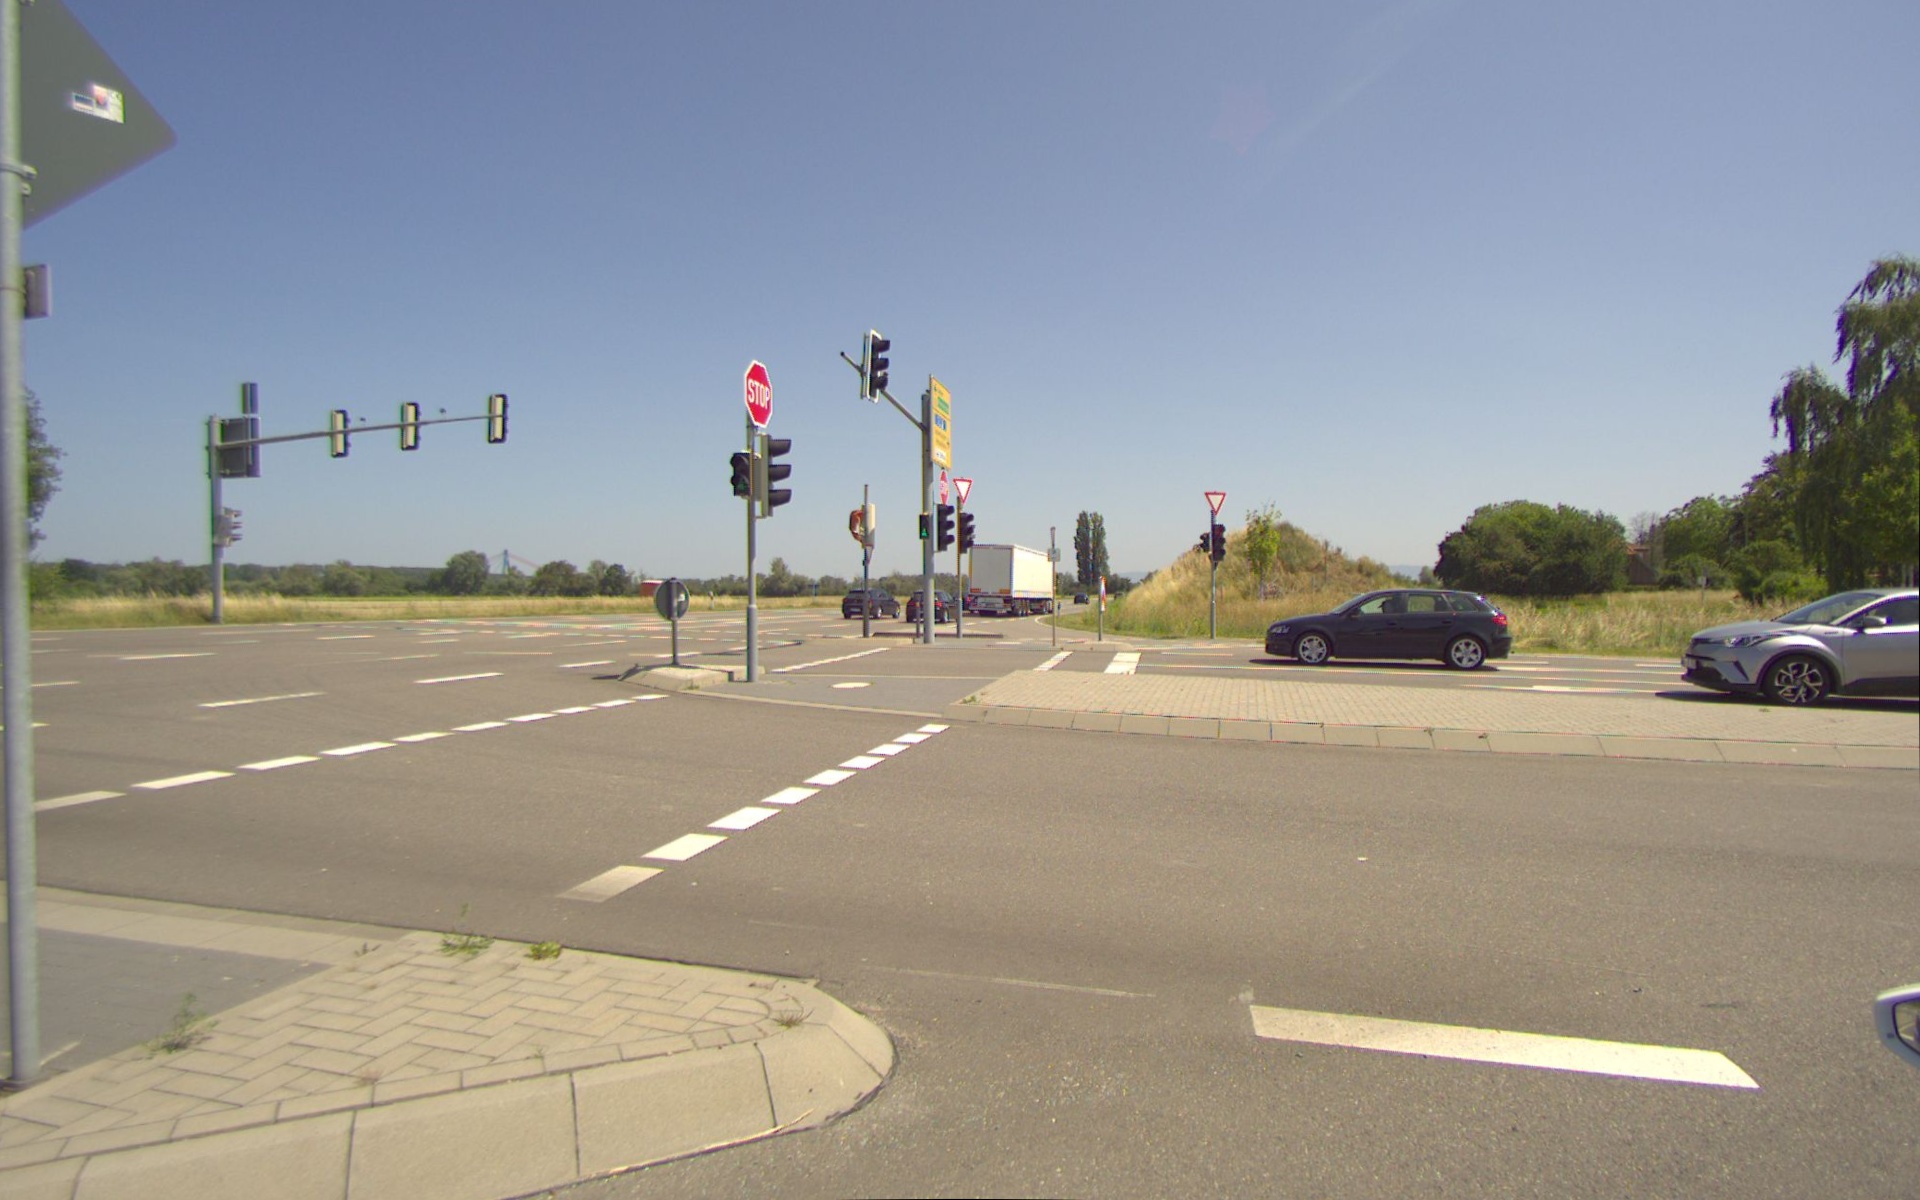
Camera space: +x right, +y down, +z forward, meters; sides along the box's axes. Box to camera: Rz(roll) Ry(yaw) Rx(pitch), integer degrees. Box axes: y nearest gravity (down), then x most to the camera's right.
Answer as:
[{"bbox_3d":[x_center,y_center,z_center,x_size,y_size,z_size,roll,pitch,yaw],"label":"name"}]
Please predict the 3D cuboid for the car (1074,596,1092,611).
[{"bbox_3d":[16.213,0.502,132.425,1.946,1.919,4.469,1,0,12],"label":"car"}]

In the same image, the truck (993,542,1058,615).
[{"bbox_3d":[4.496,-1.416,67.637,3.323,4.603,6.375,2,1,13],"label":"truck"}]

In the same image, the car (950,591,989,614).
[{"bbox_3d":[0.662,0.154,66.341,1.646,1.430,4.469,1,0,12],"label":"car"}]

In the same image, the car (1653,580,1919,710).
[{"bbox_3d":[12.009,0.535,13.137,4.461,1.565,1.871,1,2,20],"label":"car"}]

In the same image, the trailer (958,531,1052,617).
[{"bbox_3d":[2.989,-1.444,60.970,3.323,4.603,12.878,2,0,13],"label":"trailer"}]

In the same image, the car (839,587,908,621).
[{"bbox_3d":[-4.040,0.185,47.643,1.857,1.466,4.528,1,0,15],"label":"car"}]

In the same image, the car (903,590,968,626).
[{"bbox_3d":[-1.026,0.319,44.219,1.754,1.450,4.382,2,1,13],"label":"car"}]

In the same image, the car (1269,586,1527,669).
[{"bbox_3d":[7.930,0.462,18.563,4.190,1.387,1.776,0,1,19],"label":"car"}]
